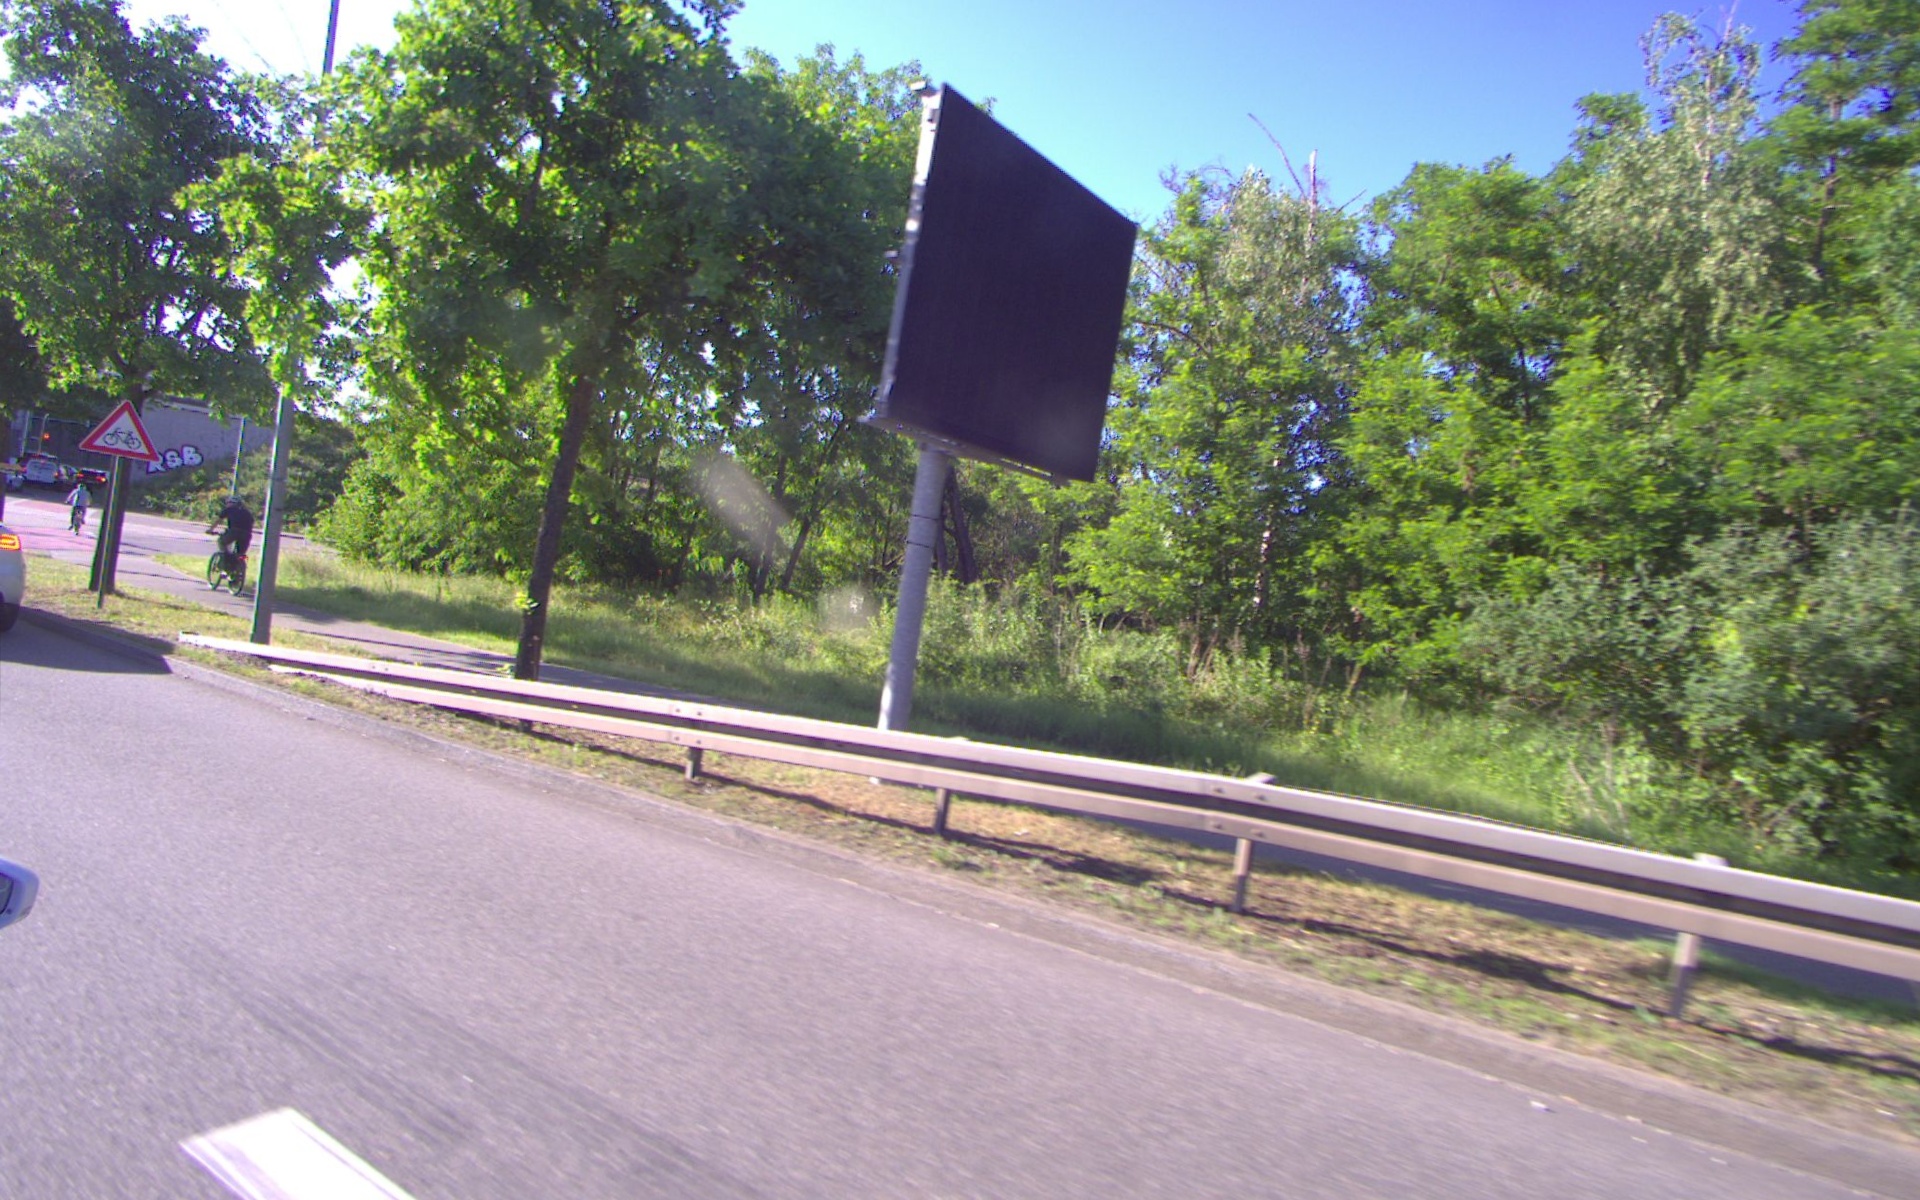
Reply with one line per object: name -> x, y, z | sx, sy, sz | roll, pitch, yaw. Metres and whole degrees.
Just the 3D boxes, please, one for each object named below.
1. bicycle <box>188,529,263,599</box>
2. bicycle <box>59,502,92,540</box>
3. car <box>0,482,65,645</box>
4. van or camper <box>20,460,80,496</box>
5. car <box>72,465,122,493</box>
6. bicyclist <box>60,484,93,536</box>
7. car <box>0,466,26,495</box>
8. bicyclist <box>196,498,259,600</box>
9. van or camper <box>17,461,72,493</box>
bicycle -> -13.958, -0.697, 19.092 | 2.088, 1.109, 0.693 | 8, 2, 42
bicycle -> -30.029, -2.686, 34.157 | 0.740, 1.127, 2.421 | 5, 2, -43
car -> -12.105, -0.665, 11.270 | 4.339, 1.658, 1.918 | 7, -3, 34
van or camper -> -59.880, -8.000, 66.288 | 1.813, 1.812, 4.508 | 9, 0, -30
car -> -63.757, -8.921, 74.393 | 1.693, 1.541, 3.717 | 9, 0, -26
bicyclist -> -29.983, -3.064, 34.135 | 0.743, 1.640, 0.901 | 5, 3, -42
car -> -53.351, -6.705, 55.531 | 1.752, 1.493, 4.250 | 8, 0, -33
bicyclist -> -13.789, -0.962, 18.943 | 0.935, 1.800, 0.673 | 8, 3, 42
van or camper -> -65.643, -8.800, 72.181 | 1.739, 1.835, 3.931 | 9, 0, -26
